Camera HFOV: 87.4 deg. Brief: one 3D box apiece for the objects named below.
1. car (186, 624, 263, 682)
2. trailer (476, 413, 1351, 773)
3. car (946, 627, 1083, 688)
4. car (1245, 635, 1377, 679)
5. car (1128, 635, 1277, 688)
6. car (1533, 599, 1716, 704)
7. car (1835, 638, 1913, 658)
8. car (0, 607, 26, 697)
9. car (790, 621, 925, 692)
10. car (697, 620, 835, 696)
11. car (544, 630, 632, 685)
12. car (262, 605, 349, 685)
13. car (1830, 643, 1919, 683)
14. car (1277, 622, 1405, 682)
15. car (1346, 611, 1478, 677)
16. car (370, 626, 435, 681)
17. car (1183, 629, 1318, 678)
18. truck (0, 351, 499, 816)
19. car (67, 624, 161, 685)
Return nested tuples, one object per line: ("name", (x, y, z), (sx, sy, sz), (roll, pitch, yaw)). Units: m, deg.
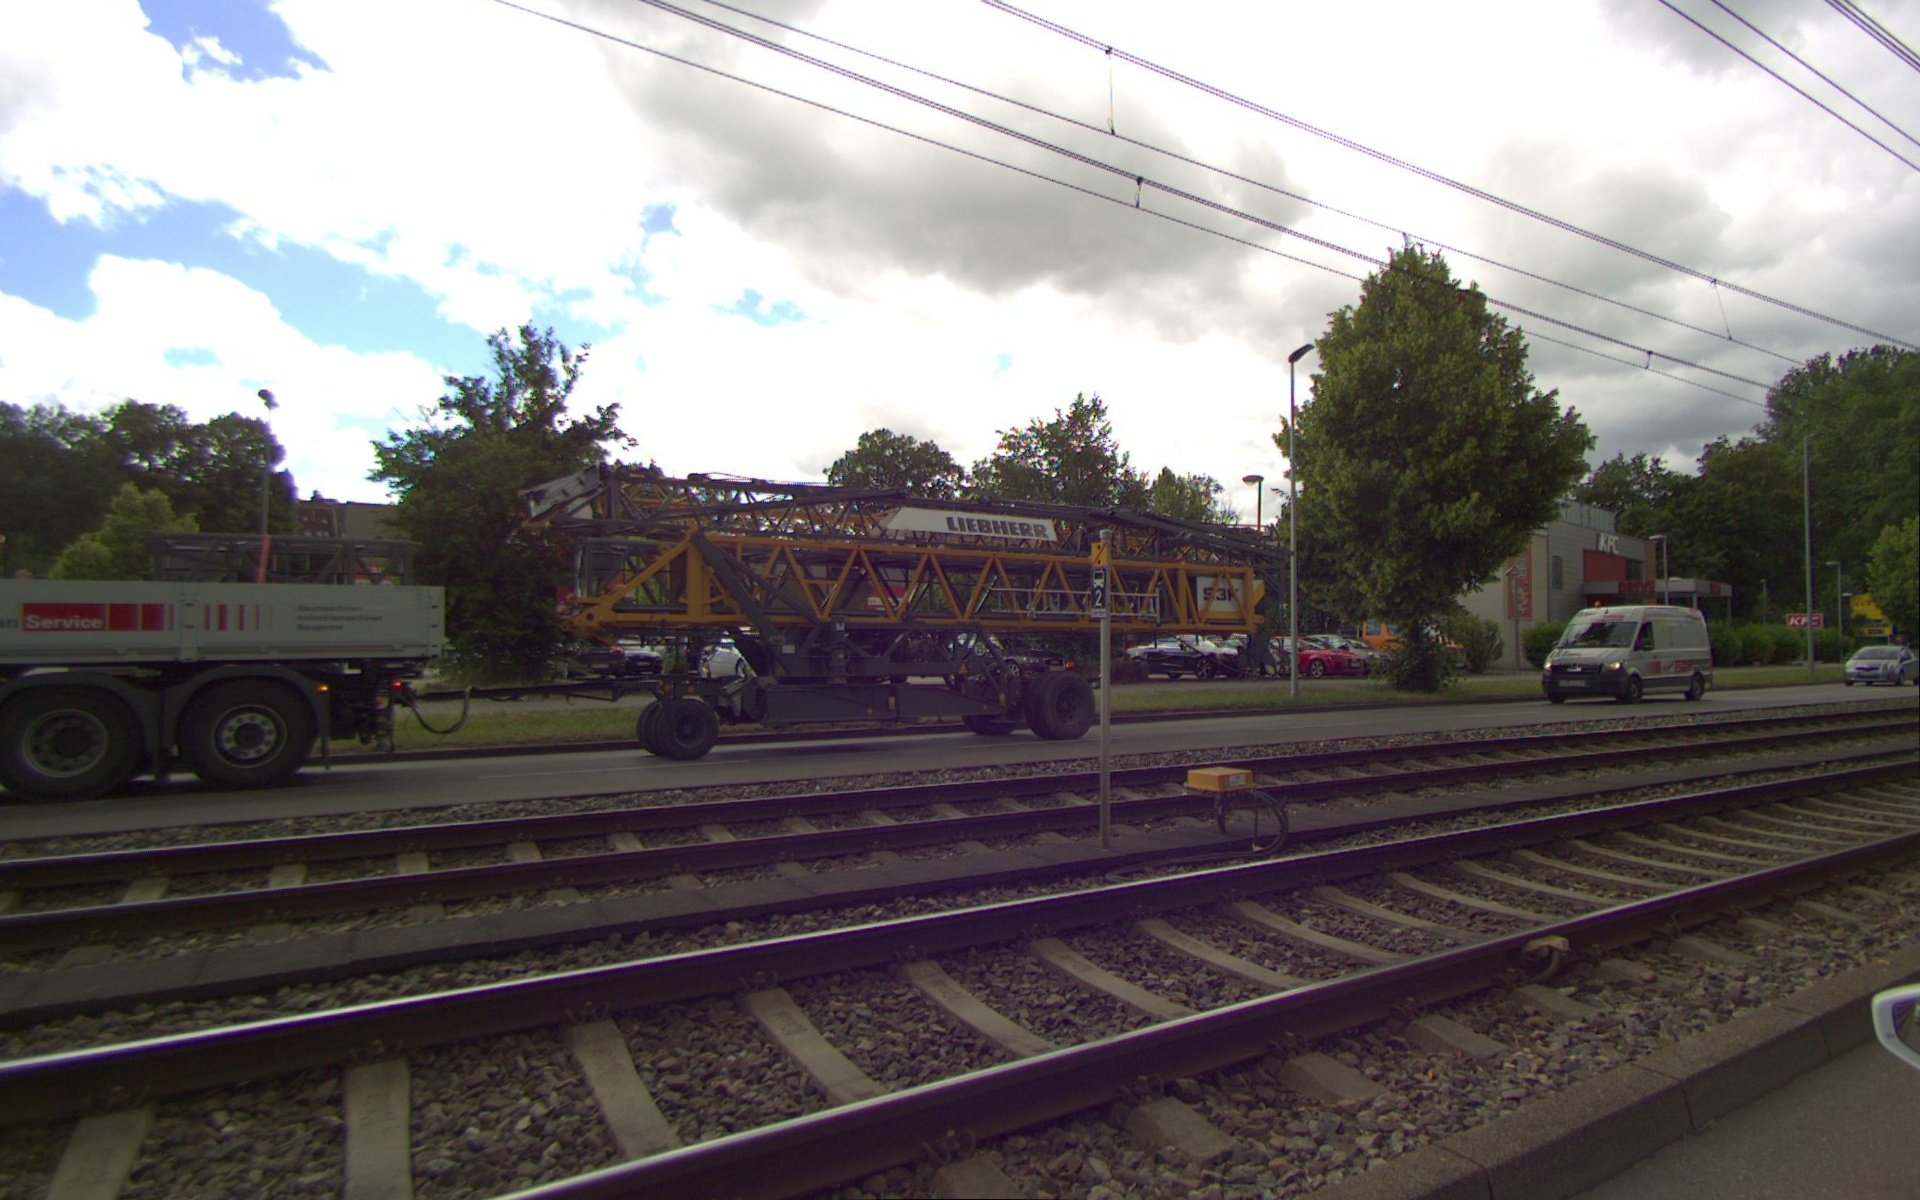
("car", (-23.548, 1.653, 32.257), (1.705, 1.644, 3.706), (2, 0, -33))
("trailer", (0.394, 0.176, 15.870), (14.262, 3.947, 2.658), (2, -3, -32))
("car", (1.447, 1.560, 28.070), (1.915, 1.440, 3.966), (2, 0, -31))
("car", (12.009, 1.934, 34.593), (1.977, 1.252, 3.966), (2, 0, -31))
("car", (7.578, 1.900, 31.819), (2.171, 1.371, 4.351), (2, 0, -31))
("car", (17.795, 1.378, 26.784), (5.937, 2.531, 1.858), (2, -4, -34))
("car", (66.586, 3.501, 73.199), (1.826, 1.426, 3.860), (1, -3, -31))
("car", (-17.092, 0.899, 16.522), (1.777, 1.526, 4.442), (2, 0, -33))
("car", (-2.694, 1.380, 25.597), (1.915, 1.526, 3.966), (2, 0, -31))
("car", (-4.697, 1.310, 23.876), (1.979, 1.526, 3.966), (2, 0, -31))
("car", (-12.090, 1.822, 32.519), (1.931, 1.510, 3.706), (2, 0, -33))
("car", (-18.560, 1.224, 28.554), (1.931, 2.040, 3.706), (2, 0, -33))
("car", (35.797, 2.442, 38.954), (3.956, 1.502, 1.983), (2, -5, -32))
("car", (13.775, 1.838, 36.500), (1.977, 1.944, 3.966), (2, 0, -31))
("car", (16.529, 1.562, 36.910), (2.035, 2.194, 3.966), (2, 0, -31))
("car", (-19.302, 1.806, 34.719), (1.705, 1.644, 3.706), (2, 0, -33))
("car", (9.640, 1.749, 33.591), (2.070, 1.385, 3.966), (2, 0, -31))
("truck", (-9.332, -0.106, 9.713), (8.537, 4.018, 2.876), (2, -3, -33))
("car", (-26.087, 1.636, 31.083), (1.705, 1.644, 3.706), (2, 0, -33))
